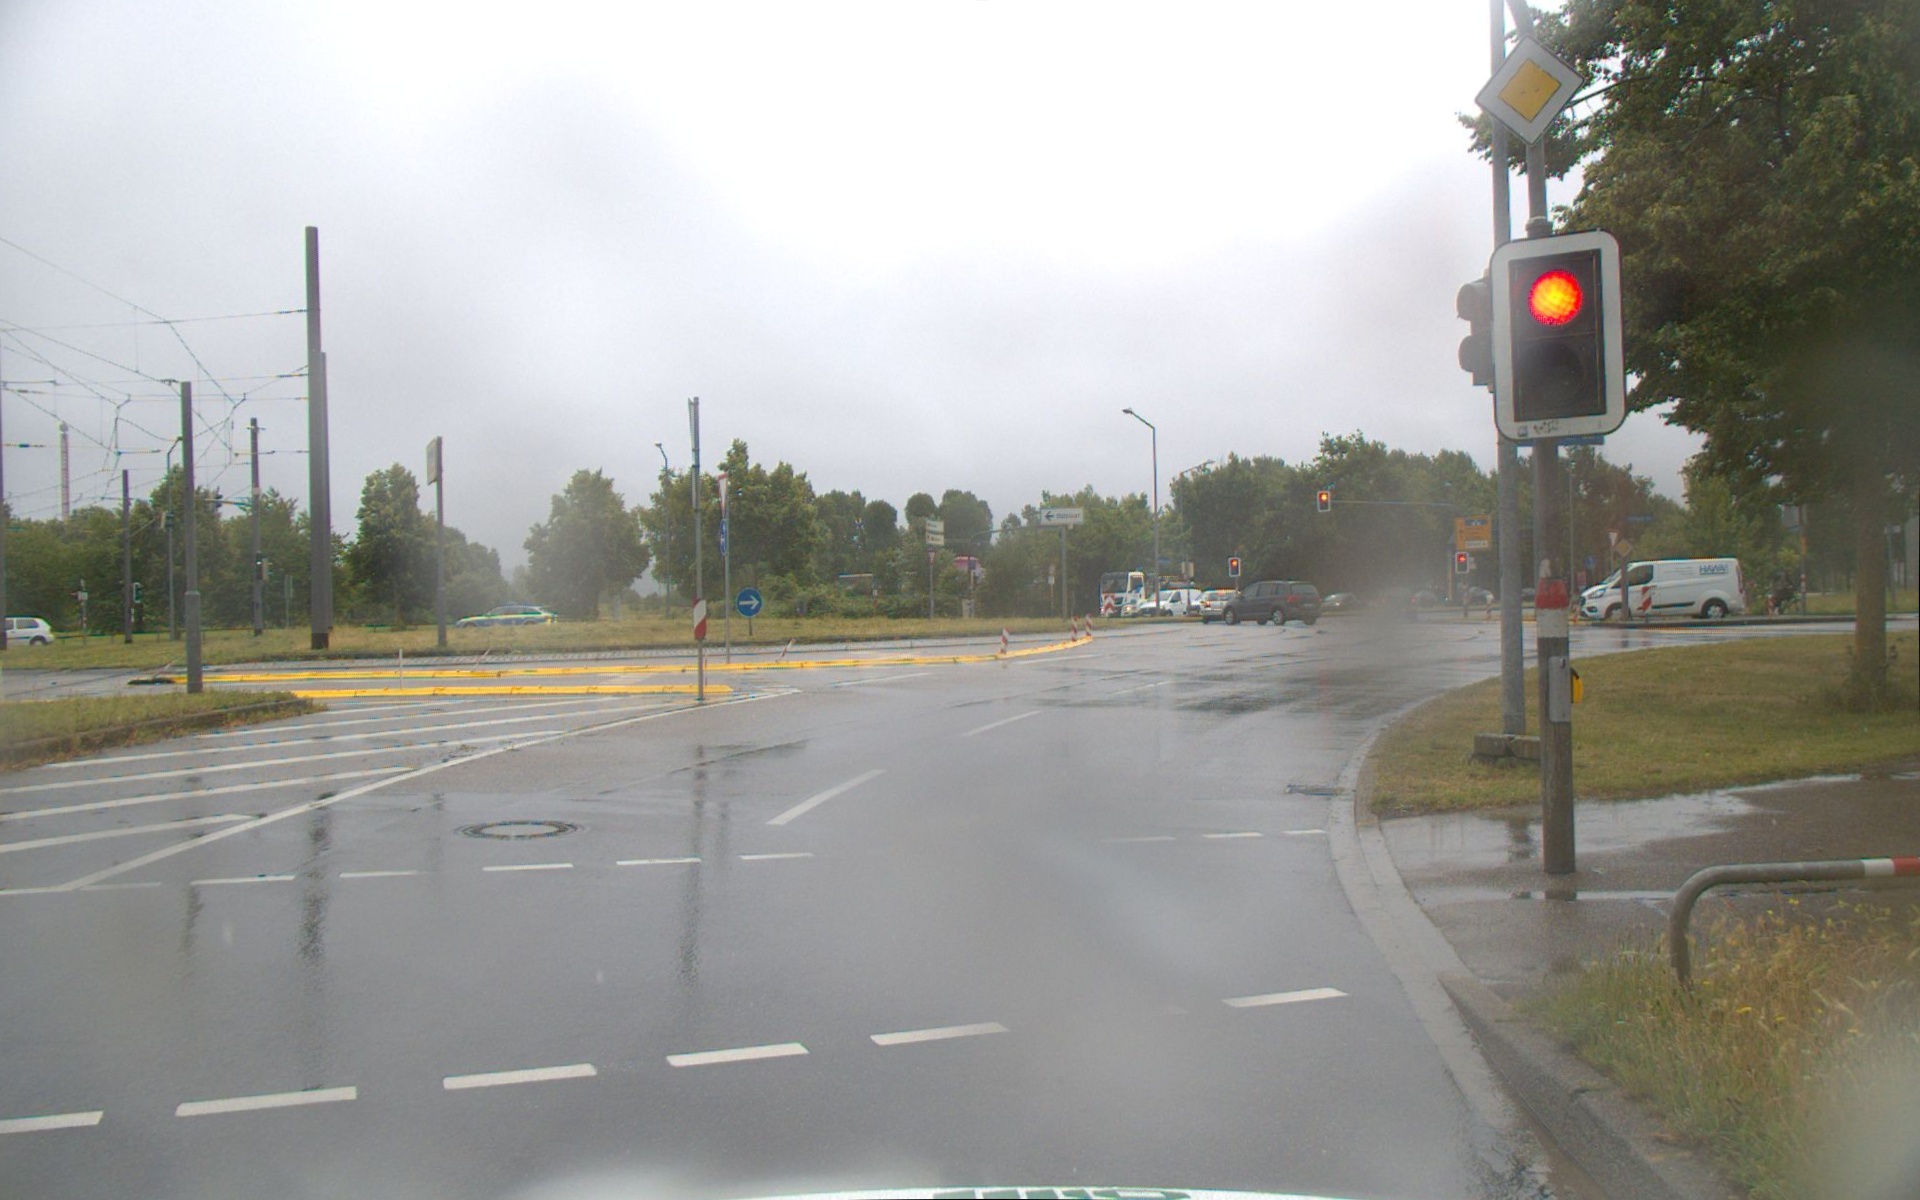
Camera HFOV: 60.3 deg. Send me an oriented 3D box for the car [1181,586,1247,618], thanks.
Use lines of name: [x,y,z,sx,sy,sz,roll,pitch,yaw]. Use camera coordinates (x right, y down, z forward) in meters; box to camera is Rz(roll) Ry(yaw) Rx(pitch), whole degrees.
car: [14.585,0.118,94.813,1.769,1.691,4.386,0,-1,40]

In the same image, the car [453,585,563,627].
car: [-21.540,0.272,78.939,4.663,1.883,2.000,-1,0,0]

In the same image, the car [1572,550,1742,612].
car: [22.345,-0.602,53.192,4.658,1.884,2.001,1,-1,9]

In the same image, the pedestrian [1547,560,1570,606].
pedestrian: [25.540,-0.723,70.568,0.799,1.901,0.668,1,-1,7]

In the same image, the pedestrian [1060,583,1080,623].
pedestrian: [3.623,0.095,54.397,0.445,1.327,0.484,-1,0,38]

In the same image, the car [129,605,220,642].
car: [-40.211,1.201,84.715,1.644,1.848,3.994,1,-1,28]

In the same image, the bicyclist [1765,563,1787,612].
bicyclist: [29.719,-0.462,60.252,0.580,1.772,0.493,0,-1,42]

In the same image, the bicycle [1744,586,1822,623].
bicycle: [29.889,0.156,60.112,2.463,1.337,0.569,0,-1,40]

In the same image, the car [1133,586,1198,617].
car: [11.986,0.089,96.295,1.769,1.691,4.112,0,-1,40]

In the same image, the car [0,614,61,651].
car: [-40.257,1.392,69.680,3.951,1.479,1.600,-1,0,-40]

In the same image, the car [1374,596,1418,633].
car: [18.781,0.605,71.369,1.583,1.479,3.991,-1,0,11]

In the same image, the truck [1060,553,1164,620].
truck: [6.931,-0.540,74.224,2.411,2.733,8.058,1,-1,22]

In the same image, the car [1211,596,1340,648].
car: [11.988,0.831,63.106,1.980,1.884,4.709,2,-1,-39]

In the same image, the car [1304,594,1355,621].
car: [24.160,0.484,108.111,1.766,1.691,3.984,0,-1,36]

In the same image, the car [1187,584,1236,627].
car: [11.564,0.293,75.838,1.951,1.884,4.779,1,-1,12]
